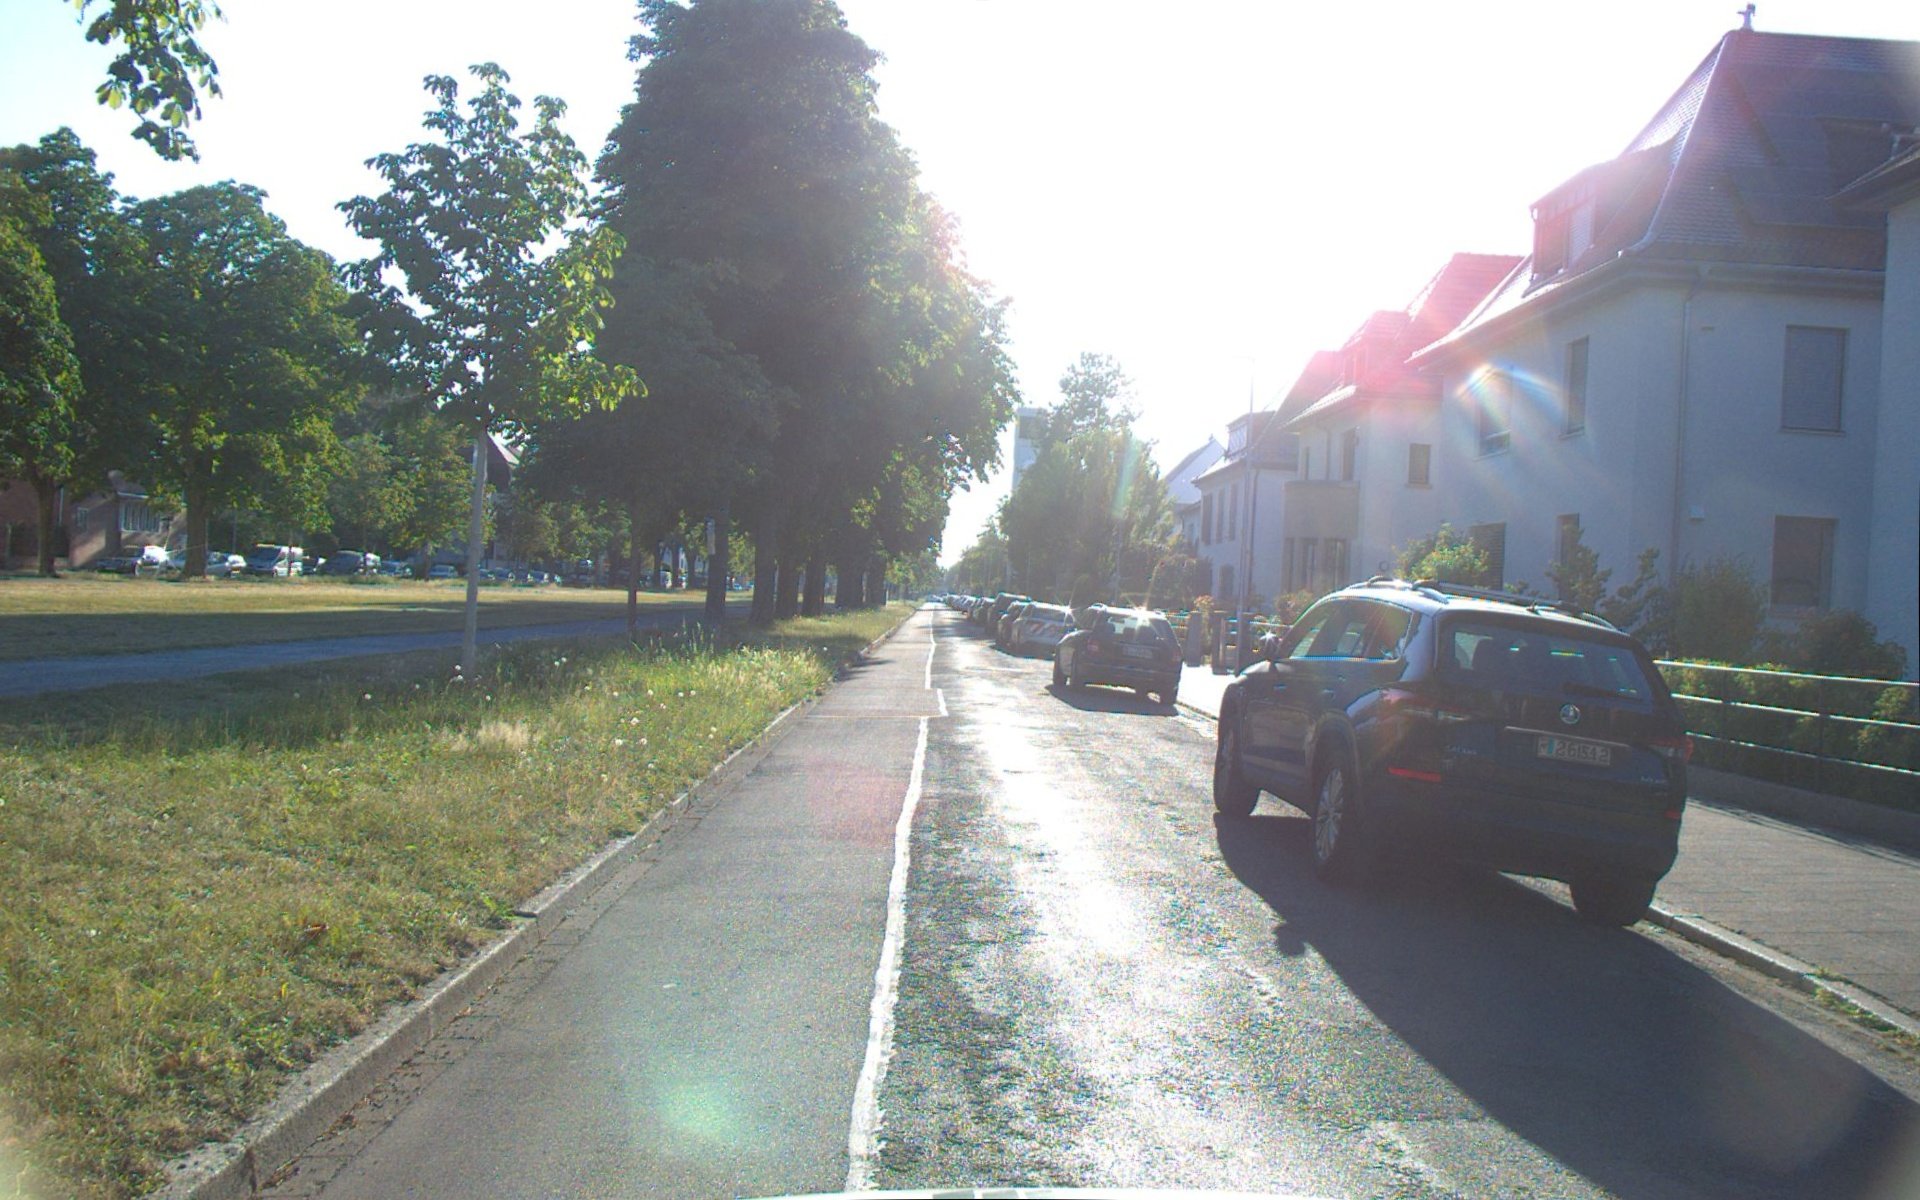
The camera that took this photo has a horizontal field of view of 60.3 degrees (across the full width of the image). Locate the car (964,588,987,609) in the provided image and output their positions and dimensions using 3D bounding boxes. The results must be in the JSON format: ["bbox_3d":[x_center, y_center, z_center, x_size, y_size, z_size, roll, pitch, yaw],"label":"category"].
[{"bbox_3d":[1.330,-0.140,140.891,1.723,1.443,4.071,9,0,0],"label":"car"}]

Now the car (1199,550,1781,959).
[{"bbox_3d":[2.917,0.740,10.302,1.822,1.748,4.465,8,0,-3],"label":"car"}]

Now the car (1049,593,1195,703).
[{"bbox_3d":[2.646,0.739,27.978,1.745,1.525,4.395,6,0,-3],"label":"car"}]

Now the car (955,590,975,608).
[{"bbox_3d":[0.461,-0.102,163.875,1.723,1.633,4.357,3,0,-2],"label":"car"}]

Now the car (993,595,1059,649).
[{"bbox_3d":[2.120,0.689,54.104,1.745,1.488,4.593,6,0,-1],"label":"car"}]

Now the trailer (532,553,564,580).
[{"bbox_3d":[-41.392,-3.356,166.215,1.953,2.470,4.723,3,0,0],"label":"trailer"}]

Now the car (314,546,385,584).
[{"bbox_3d":[-34.603,-1.980,93.905,1.953,1.974,5.246,3,1,0],"label":"car"}]

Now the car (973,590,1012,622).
[{"bbox_3d":[1.684,0.318,87.902,1.757,1.518,4.673,4,0,-2],"label":"car"}]

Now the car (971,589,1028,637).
[{"bbox_3d":[1.589,0.500,68.228,1.954,1.767,4.862,3,0,-2],"label":"car"}]

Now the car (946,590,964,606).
[{"bbox_3d":[-0.550,-0.253,184.540,1.723,1.633,4.357,3,0,-2],"label":"car"}]

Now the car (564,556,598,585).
[{"bbox_3d":[-41.854,-3.228,182.755,2.388,2.973,5.817,1,0,-1],"label":"car"}]

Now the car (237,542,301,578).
[{"bbox_3d":[-40.125,-2.304,96.159,1.780,1.869,4.408,3,0,0],"label":"car"}]

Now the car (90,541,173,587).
[{"bbox_3d":[-39.589,-1.722,79.150,1.721,2.048,4.368,3,1,0],"label":"car"}]

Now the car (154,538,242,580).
[{"bbox_3d":[-34.095,-1.815,74.178,1.782,1.668,4.649,3,0,-1],"label":"car"}]

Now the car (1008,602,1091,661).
[{"bbox_3d":[2.559,0.876,48.176,1.953,1.489,4.548,3,0,-2],"label":"car"}]

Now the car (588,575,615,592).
[{"bbox_3d":[-36.147,-1.625,166.781,1.650,1.587,4.314,3,0,0],"label":"car"}]

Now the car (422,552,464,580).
[{"bbox_3d":[-40.627,-2.652,129.979,1.990,2.049,4.000,1,0,0],"label":"car"}]

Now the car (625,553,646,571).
[{"bbox_3d":[-43.205,-5.050,220.184,1.953,2.049,4.483,1,-1,-1],"label":"car"}]
